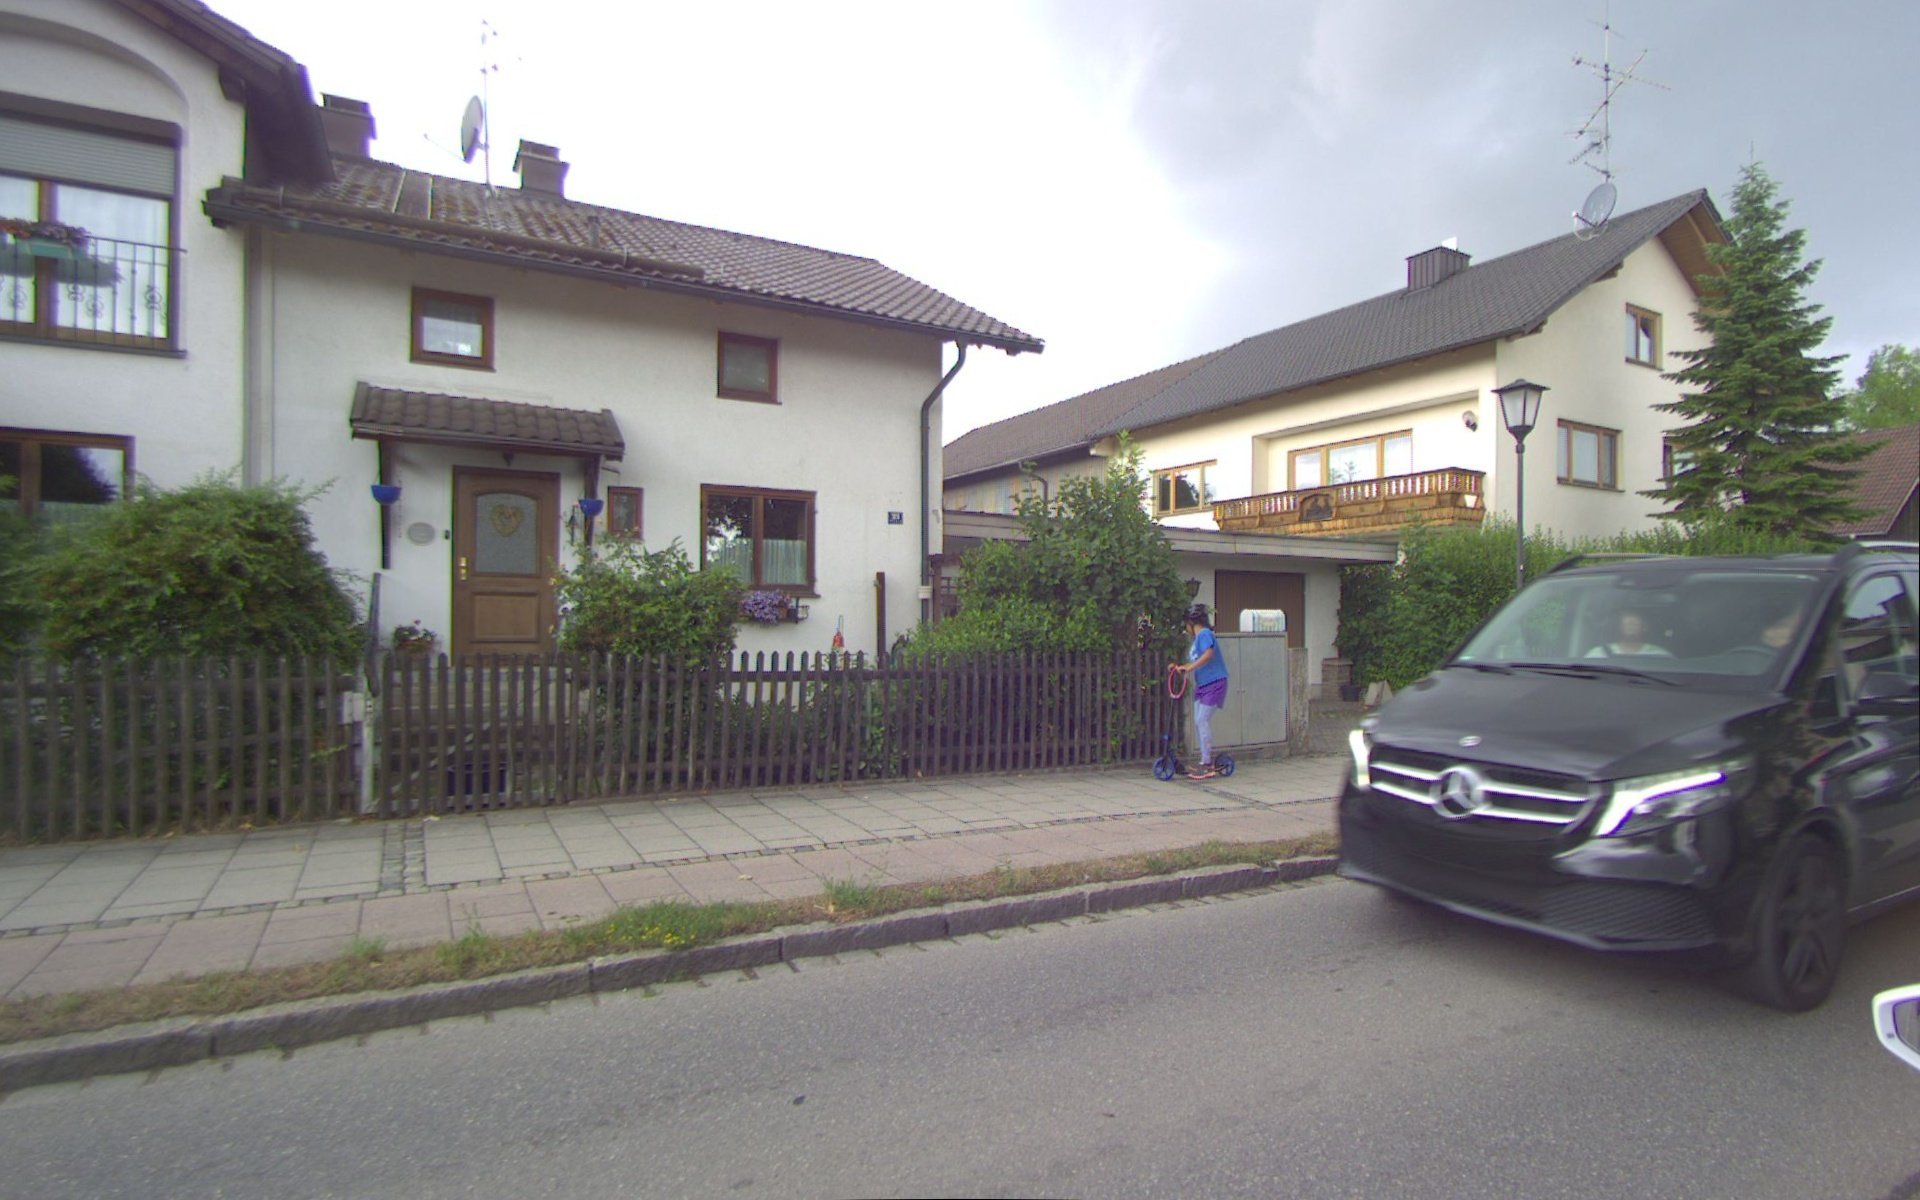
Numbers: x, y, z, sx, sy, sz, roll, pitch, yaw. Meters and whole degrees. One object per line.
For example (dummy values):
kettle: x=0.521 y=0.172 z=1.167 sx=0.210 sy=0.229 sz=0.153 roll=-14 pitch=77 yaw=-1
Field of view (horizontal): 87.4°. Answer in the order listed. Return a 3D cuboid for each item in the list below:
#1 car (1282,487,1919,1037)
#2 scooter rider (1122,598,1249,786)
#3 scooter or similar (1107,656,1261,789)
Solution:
car: x=4.243 y=0.625 z=5.518 sx=4.889 sy=1.877 sz=1.956 roll=2 pitch=-2 yaw=-30
scooter rider: x=1.972 y=0.772 z=8.809 sx=0.790 sy=1.545 sz=0.690 roll=1 pitch=1 yaw=-28
scooter or similar: x=1.956 y=1.032 z=8.777 sx=1.164 sy=1.051 sz=0.658 roll=1 pitch=-1 yaw=-29
